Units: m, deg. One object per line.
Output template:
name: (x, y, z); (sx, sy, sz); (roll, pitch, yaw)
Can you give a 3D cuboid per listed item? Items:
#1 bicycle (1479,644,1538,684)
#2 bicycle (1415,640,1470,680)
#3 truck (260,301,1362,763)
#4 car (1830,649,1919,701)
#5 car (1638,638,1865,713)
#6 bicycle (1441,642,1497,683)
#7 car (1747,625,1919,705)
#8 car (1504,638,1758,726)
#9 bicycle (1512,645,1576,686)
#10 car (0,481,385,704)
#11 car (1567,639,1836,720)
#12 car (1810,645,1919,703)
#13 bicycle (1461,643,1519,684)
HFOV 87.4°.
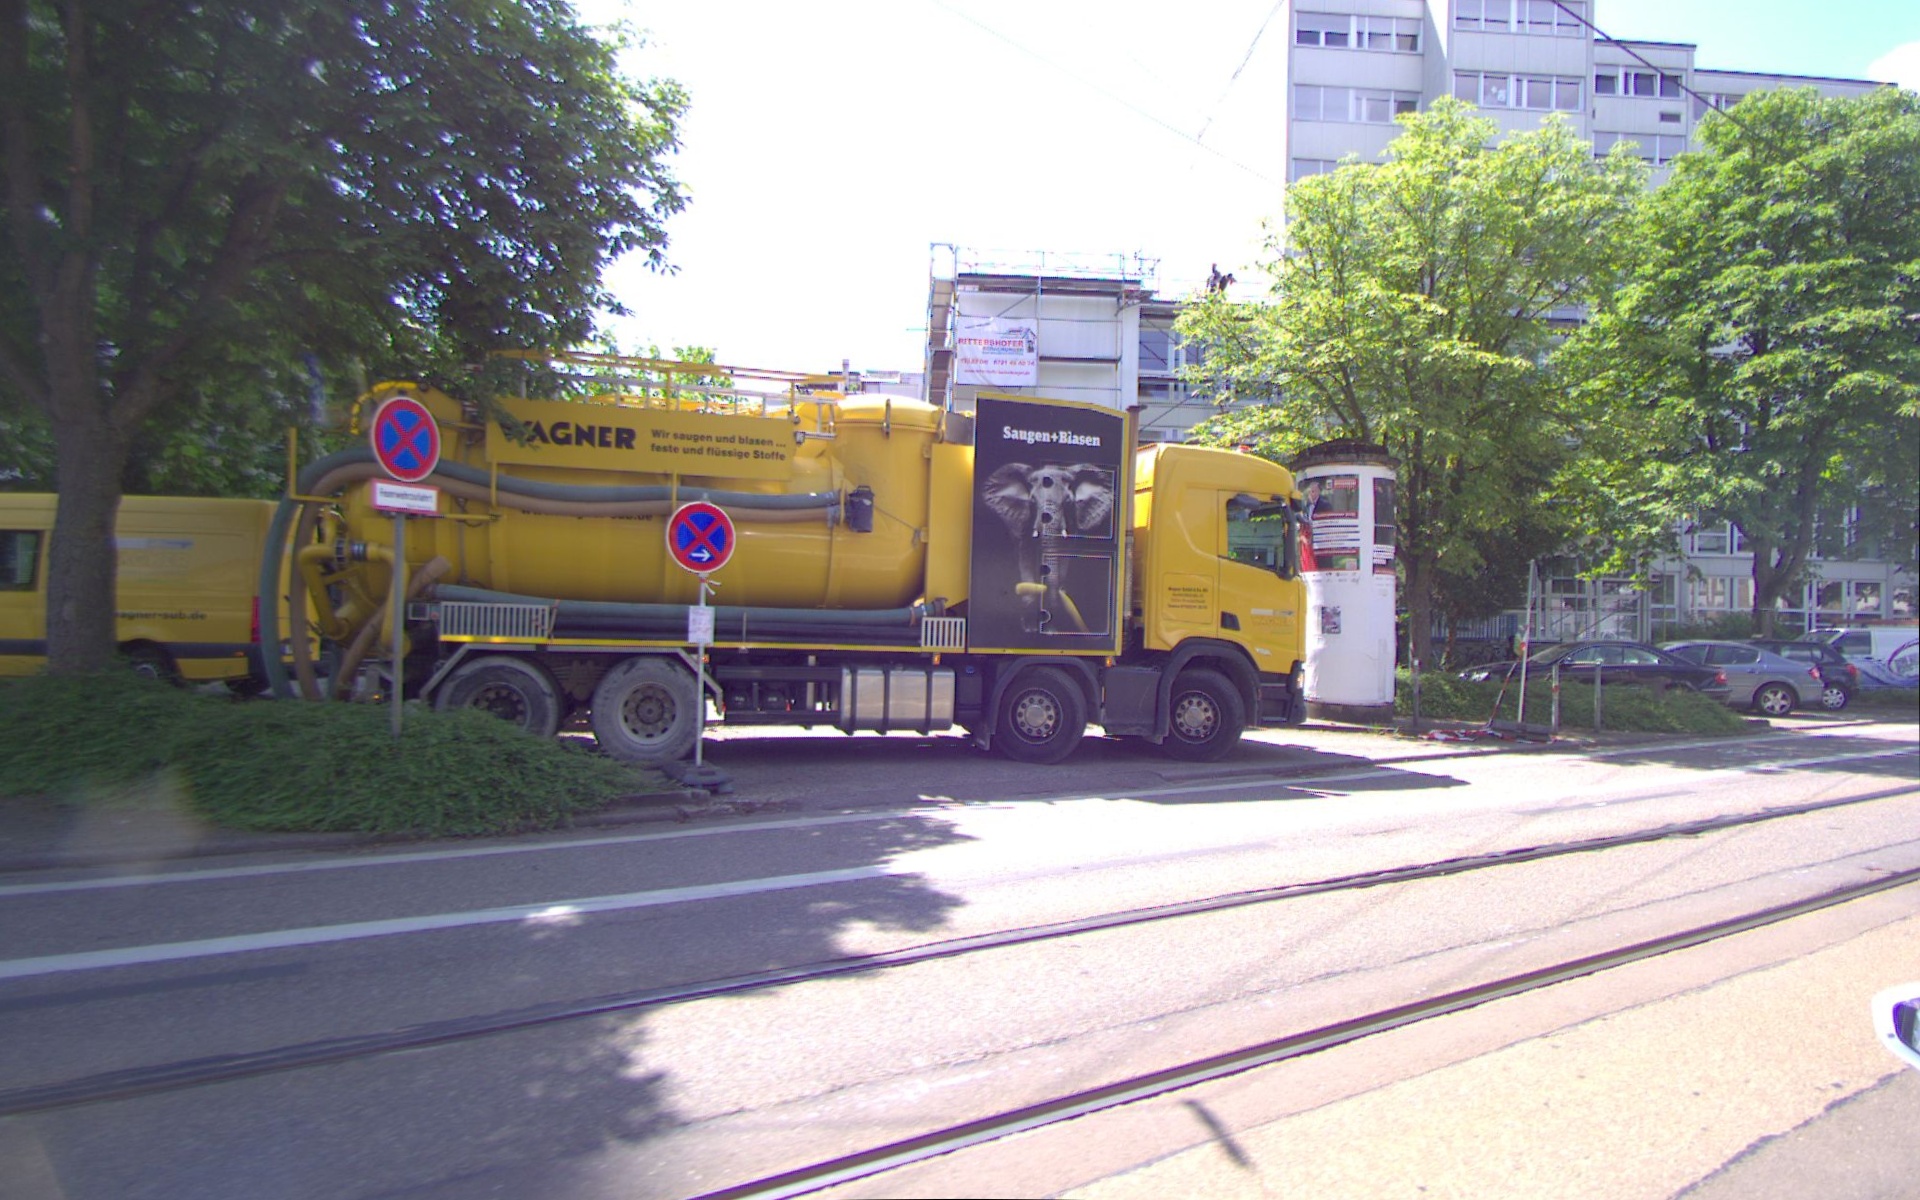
bicycle: (16.742, 1.939, 30.713); (0.547, 1.089, 2.016); (2, 0, -4)
bicycle: (14.579, 1.794, 30.404); (0.547, 1.089, 2.016); (2, 0, -4)
truck: (-1.016, -0.352, 11.291); (10.785, 3.893, 2.715); (3, 0, -16)
car: (28.298, 2.212, 29.550); (3.634, 1.486, 1.764); (0, -3, 15)
car: (17.741, 1.659, 22.712); (3.634, 1.564, 1.693); (0, -2, 15)
bicycle: (15.469, 1.885, 30.577); (0.547, 1.089, 2.016); (2, 0, -4)
car: (23.720, 1.680, 26.155); (4.660, 1.960, 1.923); (0, -3, 13)
car: (12.676, 1.525, 19.211); (3.634, 1.526, 1.764); (0, -2, 13)
bicycle: (17.739, 1.985, 30.590); (0.547, 1.089, 2.135); (2, 0, -4)
car: (-11.751, -0.150, 13.544); (6.592, 2.599, 2.185); (3, -1, 0)
car: (15.294, 1.602, 21.008); (4.120, 1.526, 1.875); (0, -2, 19)
car: (26.262, 2.049, 27.874); (3.634, 1.526, 1.819); (0, -3, 14)
bicycle: (16.136, 1.915, 30.652); (0.547, 1.089, 2.016); (2, 0, -4)
